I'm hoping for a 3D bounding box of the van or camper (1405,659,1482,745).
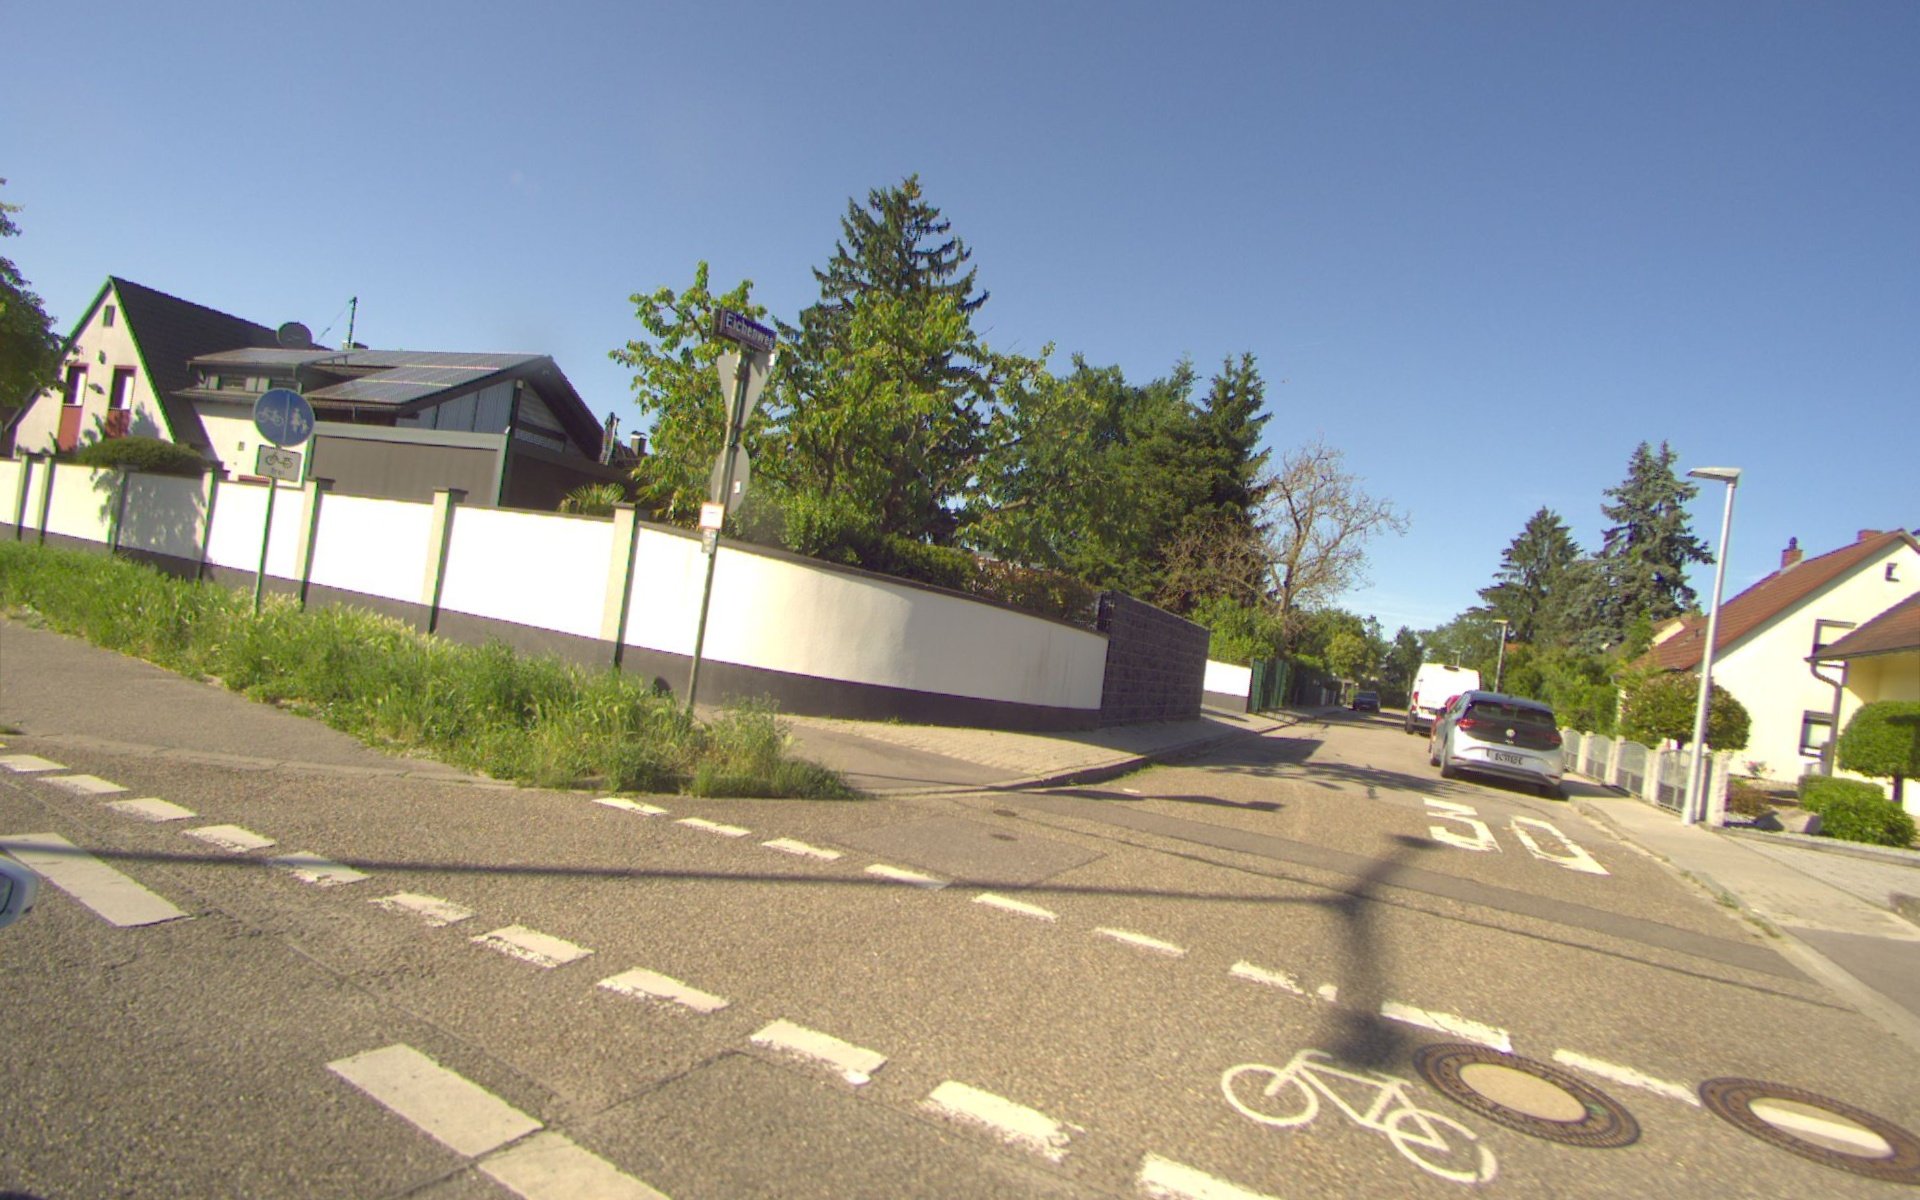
[{"bbox_3d":[16.967,3.555,35.488,1.964,2.543,4.911,7,-2,24],"label":"van or camper"}]

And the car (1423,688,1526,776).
[{"bbox_3d":[11.714,2.950,23.126,1.690,1.547,4.001,9,-1,24],"label":"car"}]

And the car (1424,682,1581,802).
[{"bbox_3d":[9.402,2.388,17.750,1.802,1.547,4.002,9,-1,22],"label":"car"}]

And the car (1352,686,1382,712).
[{"bbox_3d":[28.702,6.973,70.904,1.689,1.547,4.001,7,-2,23],"label":"car"}]
